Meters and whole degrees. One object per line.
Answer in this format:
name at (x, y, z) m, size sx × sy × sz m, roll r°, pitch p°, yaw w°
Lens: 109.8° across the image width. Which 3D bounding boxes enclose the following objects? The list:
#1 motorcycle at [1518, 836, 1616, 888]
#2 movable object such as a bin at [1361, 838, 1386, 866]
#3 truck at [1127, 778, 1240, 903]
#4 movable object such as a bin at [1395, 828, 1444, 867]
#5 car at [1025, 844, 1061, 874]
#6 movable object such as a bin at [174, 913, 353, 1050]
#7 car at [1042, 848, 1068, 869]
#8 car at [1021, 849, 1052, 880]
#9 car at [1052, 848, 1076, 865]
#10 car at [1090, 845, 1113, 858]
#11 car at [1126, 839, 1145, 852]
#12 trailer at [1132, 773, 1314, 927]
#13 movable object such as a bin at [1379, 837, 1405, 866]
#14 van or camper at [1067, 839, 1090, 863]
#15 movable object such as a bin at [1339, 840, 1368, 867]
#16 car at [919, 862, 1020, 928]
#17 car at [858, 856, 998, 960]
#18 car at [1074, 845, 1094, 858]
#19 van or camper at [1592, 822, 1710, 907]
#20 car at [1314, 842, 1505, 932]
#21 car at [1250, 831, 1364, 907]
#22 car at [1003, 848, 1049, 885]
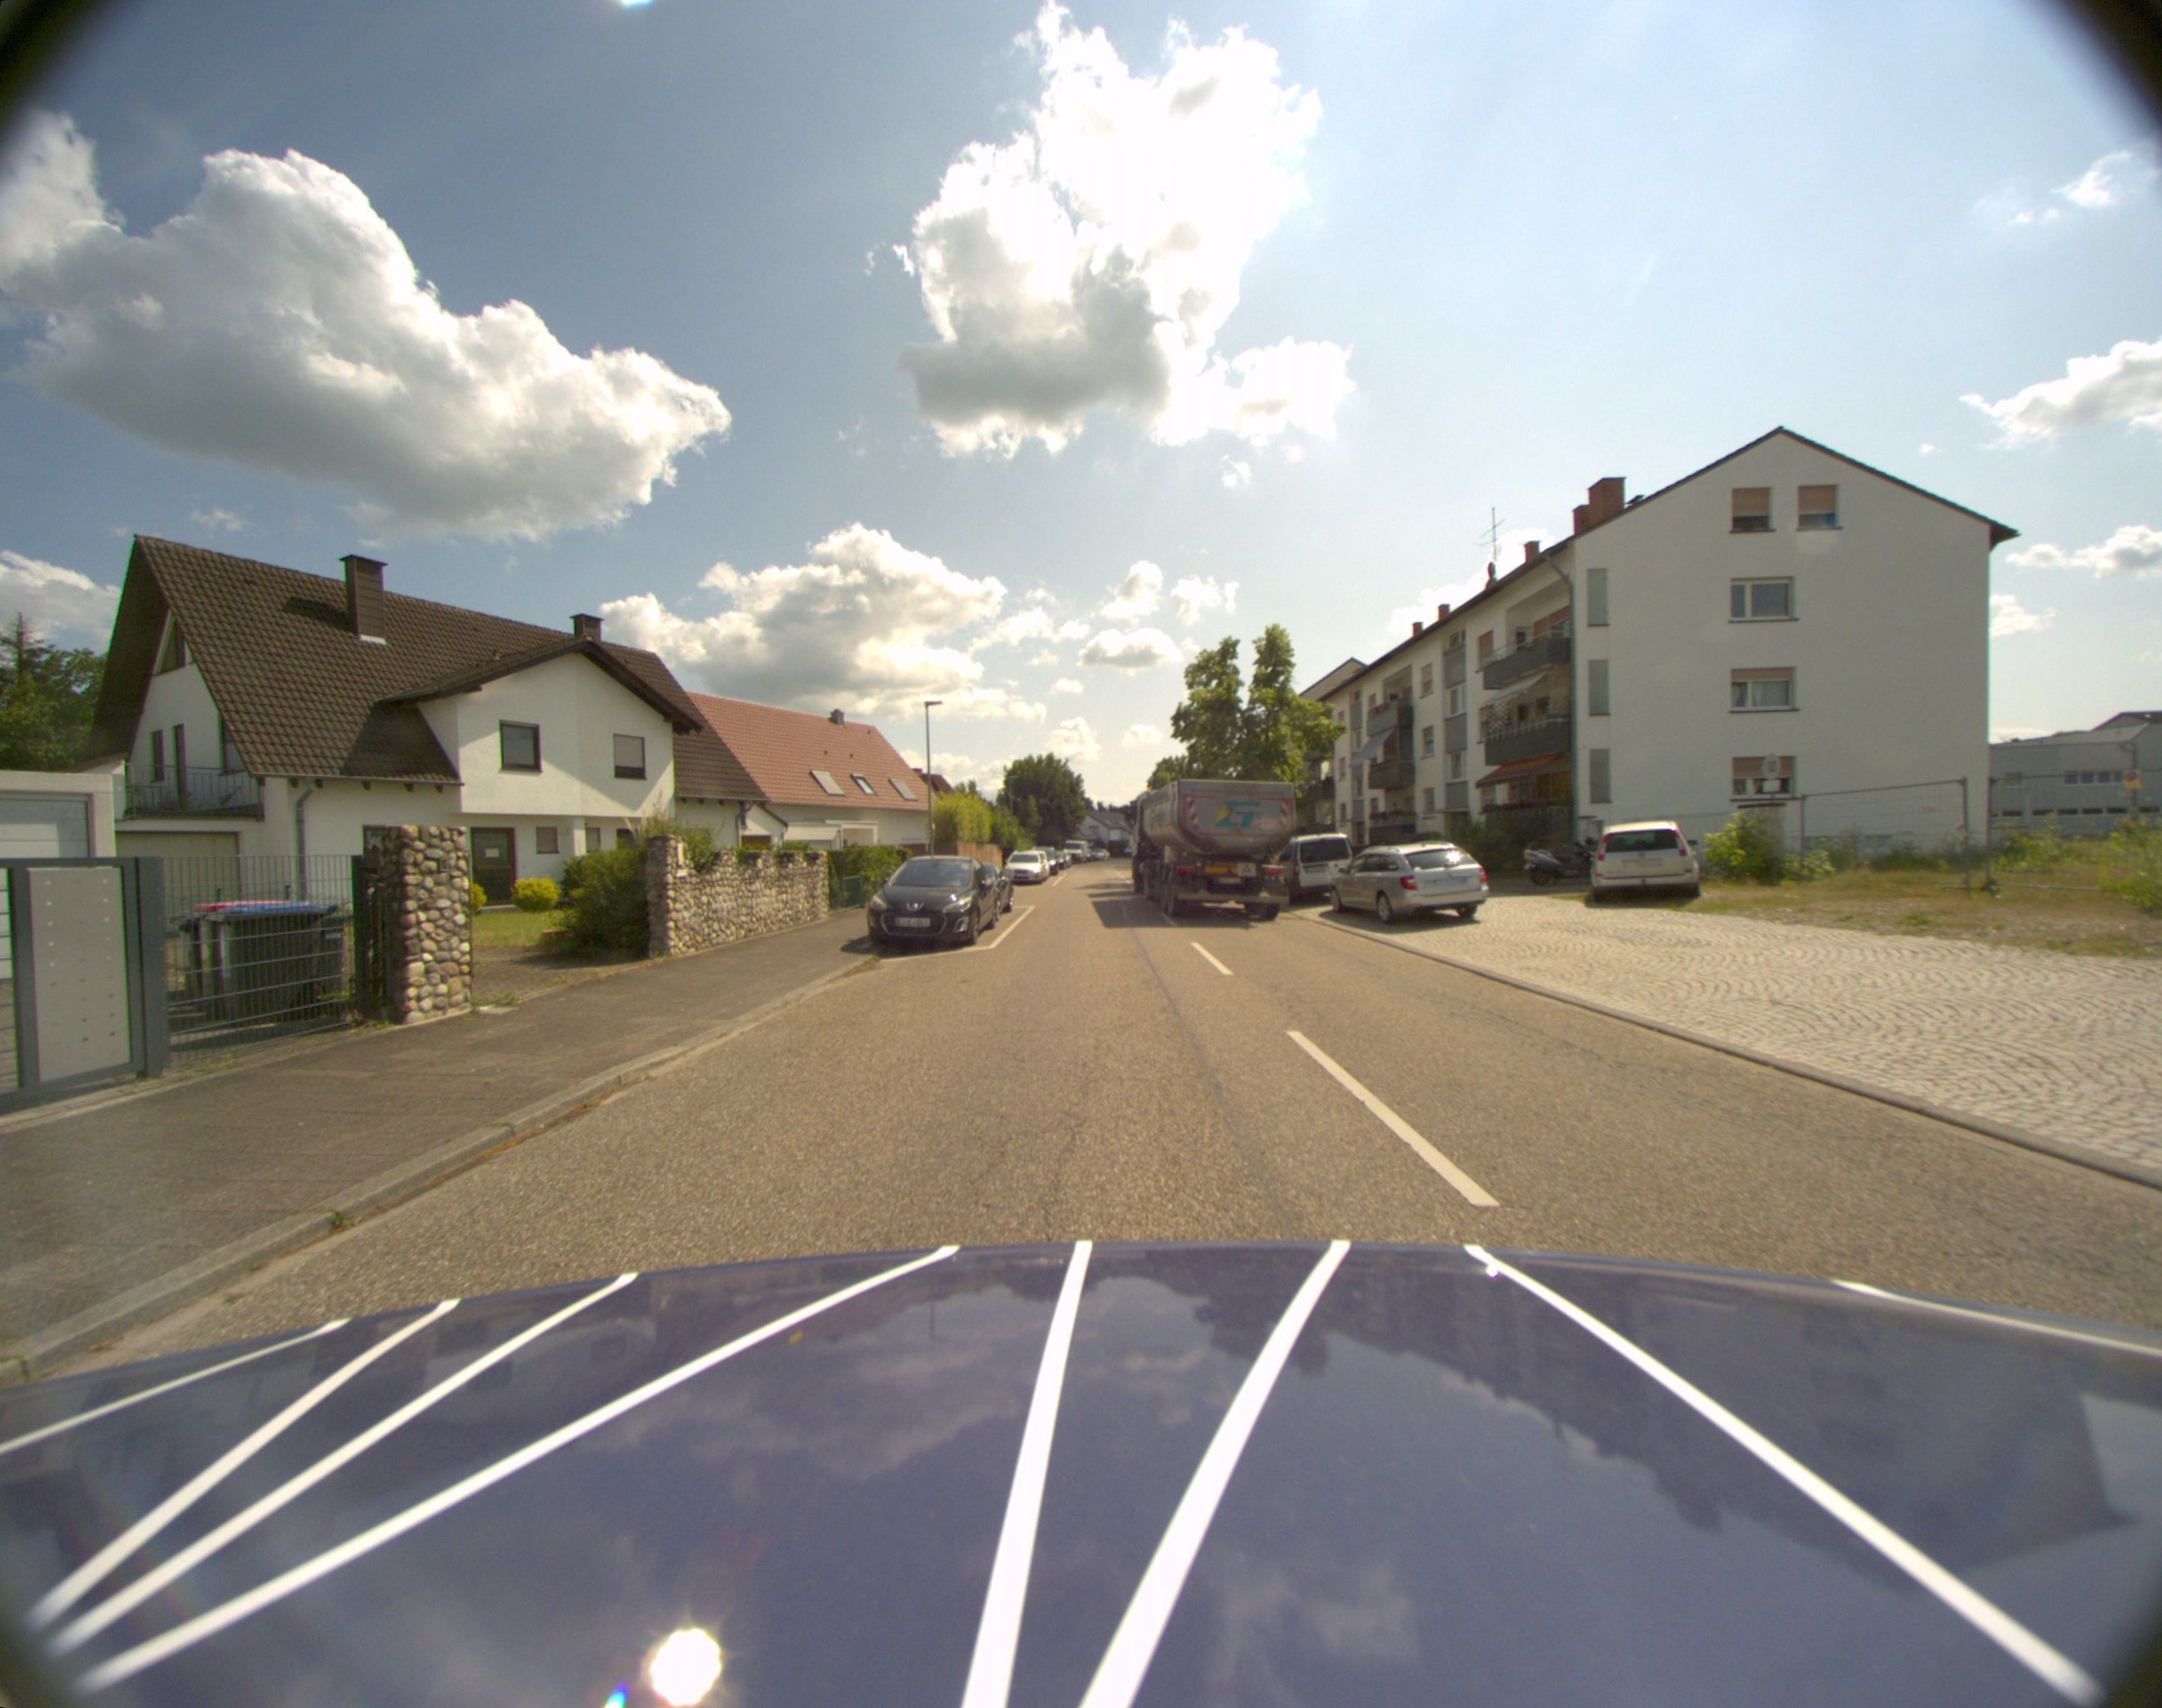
motorcycle at (12.897, 0.203, 20.190) m, size 2.098 × 1.242 × 0.677 m, roll -3°, pitch 1°, yaw 1°
movable object such as a bin at (12.771, -0.085, 33.188) m, size 0.752 × 1.207 × 0.806 m, roll -2°, pitch -1°, yaw 1°
truck at (3.079, -0.428, 24.442) m, size 2.780 × 3.479 × 5.880 m, roll -1°, pitch 1°, yaw 0°
movable object such as a bin at (13.463, -0.241, 30.235) m, size 1.274 × 1.374 × 1.266 m, roll -4°, pitch -4°, yaw 1°
car at (-2.282, 0.268, 46.883) m, size 1.896 × 1.763 × 4.708 m, roll -1°, pitch 1°, yaw 0°
movable object such as a bin at (-7.157, 1.080, 6.680) m, size 0.776 × 1.052 × 0.768 m, roll -1°, pitch 1°, yaw 18°
car at (-1.985, 0.333, 59.165) m, size 1.731 × 1.497 × 4.295 m, roll 0°, pitch 1°, yaw 2°
car at (-2.375, 0.532, 41.343) m, size 1.446 × 1.496 × 3.670 m, roll -3°, pitch 1°, yaw -1°
car at (-1.410, 0.188, 64.582) m, size 1.684 × 1.428 × 4.063 m, roll -1°, pitch 0°, yaw 4°
car at (2.506, -0.330, 92.363) m, size 1.817 × 1.514 × 4.269 m, roll 0°, pitch 0°, yaw 15°
car at (7.732, -1.232, 107.921) m, size 1.838 × 1.855 × 4.286 m, roll 1°, pitch 1°, yaw 15°
trailer at (3.179, -0.150, 19.785) m, size 2.842 × 3.051 × 8.887 m, roll -1°, pitch 1°, yaw -1°
movable object such as a bin at (13.556, -0.102, 33.138) m, size 0.752 × 1.207 × 0.806 m, roll -2°, pitch -1°, yaw 1°
van or camper at (-0.188, -0.340, 78.981) m, size 1.972 × 2.345 × 5.760 m, roll -1°, pitch 0°, yaw 4°
movable object such as a bin at (11.893, -0.008, 33.170) m, size 0.956 × 1.143 × 0.825 m, roll -2°, pitch -1°, yaw 1°
car at (-2.584, 0.917, 18.505) m, size 1.714 × 1.310 × 3.963 m, roll -1°, pitch 1°, yaw 2°
car at (-2.619, 0.853, 13.972) m, size 1.748 × 1.542 × 4.121 m, roll -1°, pitch 1°, yaw 0°
car at (0.371, -0.297, 86.113) m, size 1.683 × 1.514 × 4.064 m, roll -1°, pitch 0°, yaw 8°
van or camper at (12.174, 0.161, 16.307) m, size 1.776 × 1.534 × 4.007 m, roll -2°, pitch 1°, yaw 36°
car at (6.591, 0.604, 15.923) m, size 1.753 × 1.453 × 4.708 m, roll -5°, pitch 0°, yaw -1°
car at (6.266, 0.351, 21.664) m, size 1.814 × 1.796 × 4.490 m, roll -5°, pitch 1°, yaw 0°
car at (-2.512, 0.550, 35.727) m, size 1.749 × 1.543 × 4.291 m, roll -2°, pitch 1°, yaw 1°
